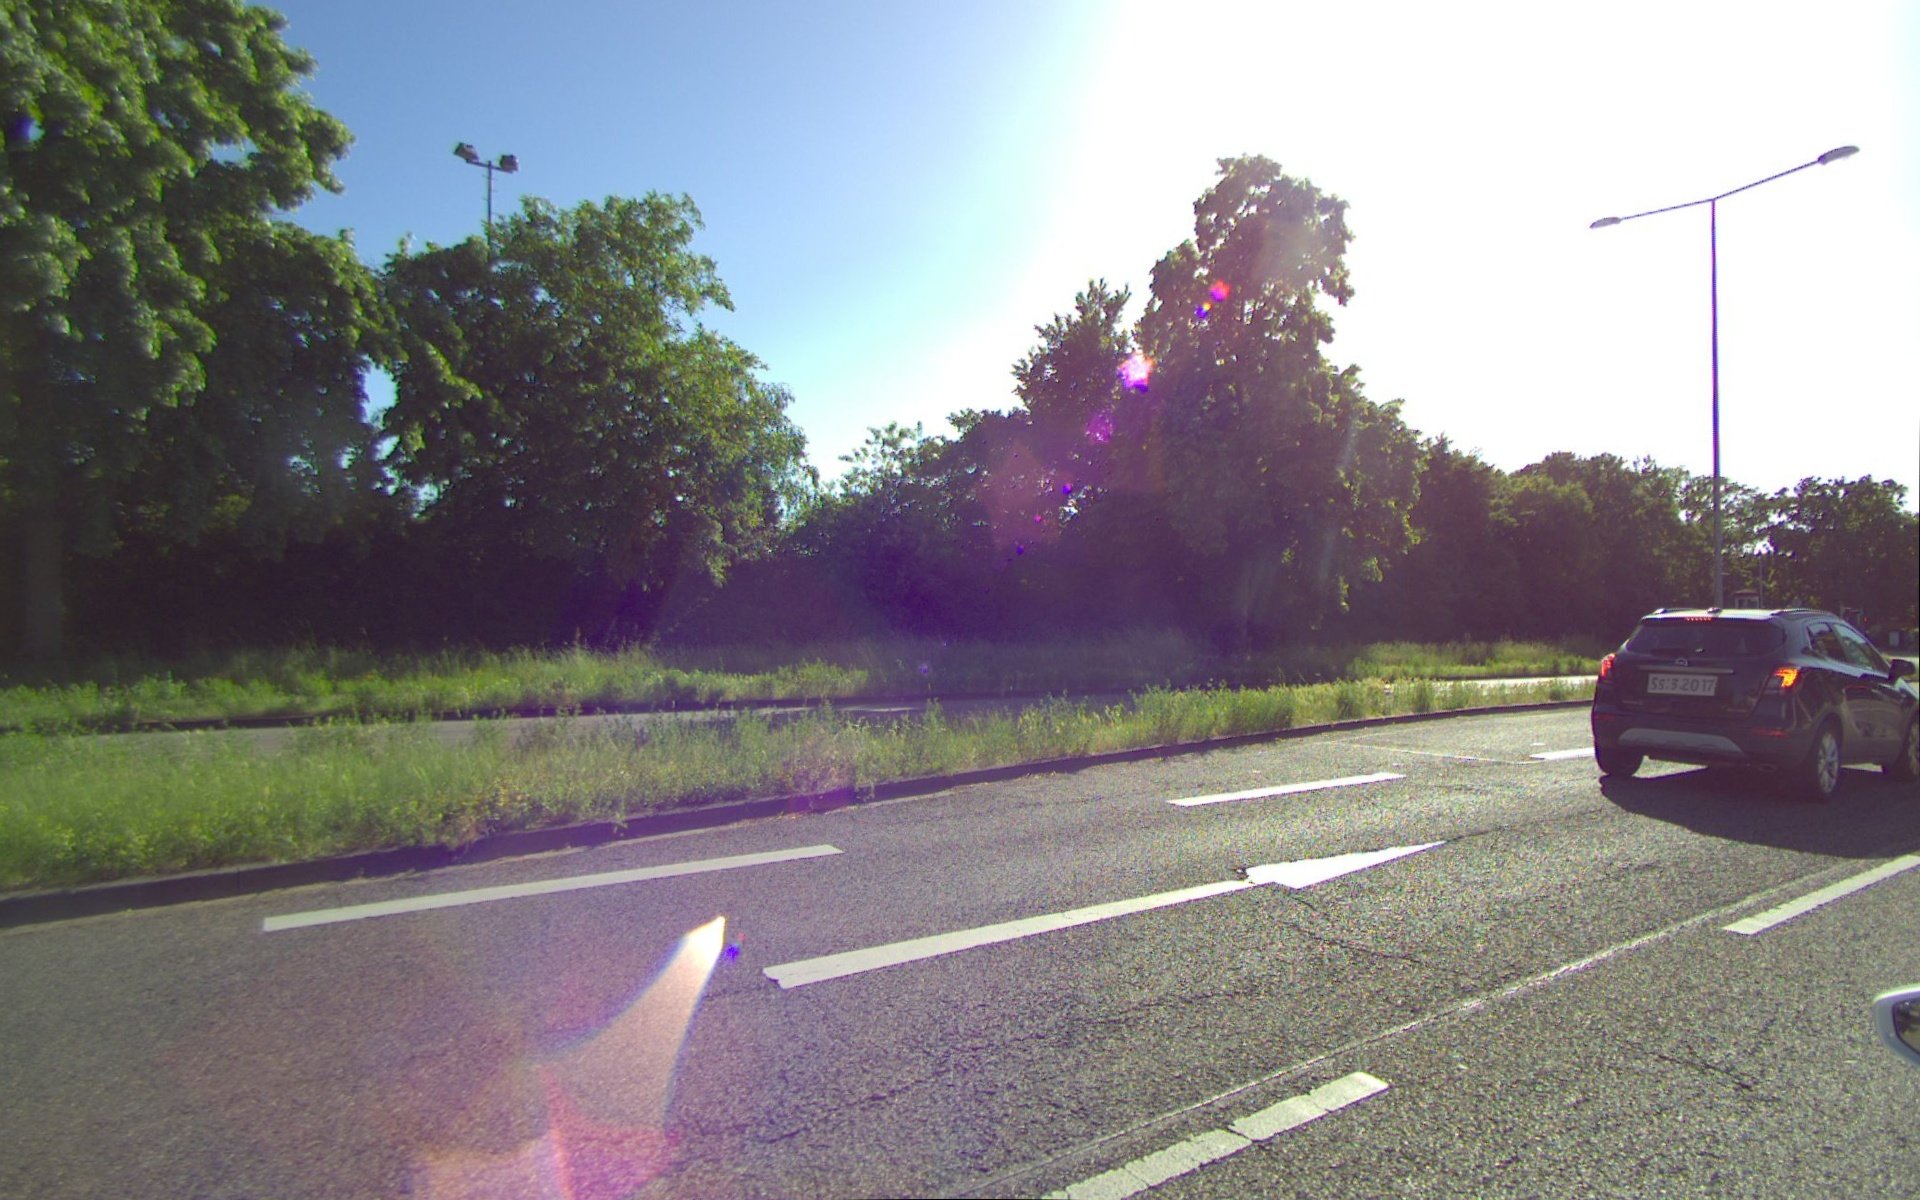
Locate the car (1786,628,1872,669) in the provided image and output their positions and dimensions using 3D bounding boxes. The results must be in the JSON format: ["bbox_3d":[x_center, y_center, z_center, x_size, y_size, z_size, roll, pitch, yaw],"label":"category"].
[{"bbox_3d":[40.715,2.287,47.055,4.362,1.726,1.900,3,0,-33],"label":"car"}]

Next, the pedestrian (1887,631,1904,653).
[{"bbox_3d":[78.419,3.517,84.193,0.543,1.859,0.842,4,-1,-29],"label":"pedestrian"}]

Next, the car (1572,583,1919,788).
[{"bbox_3d":[8.076,0.757,10.019,4.372,1.653,1.685,2,-1,-34],"label":"car"}]
